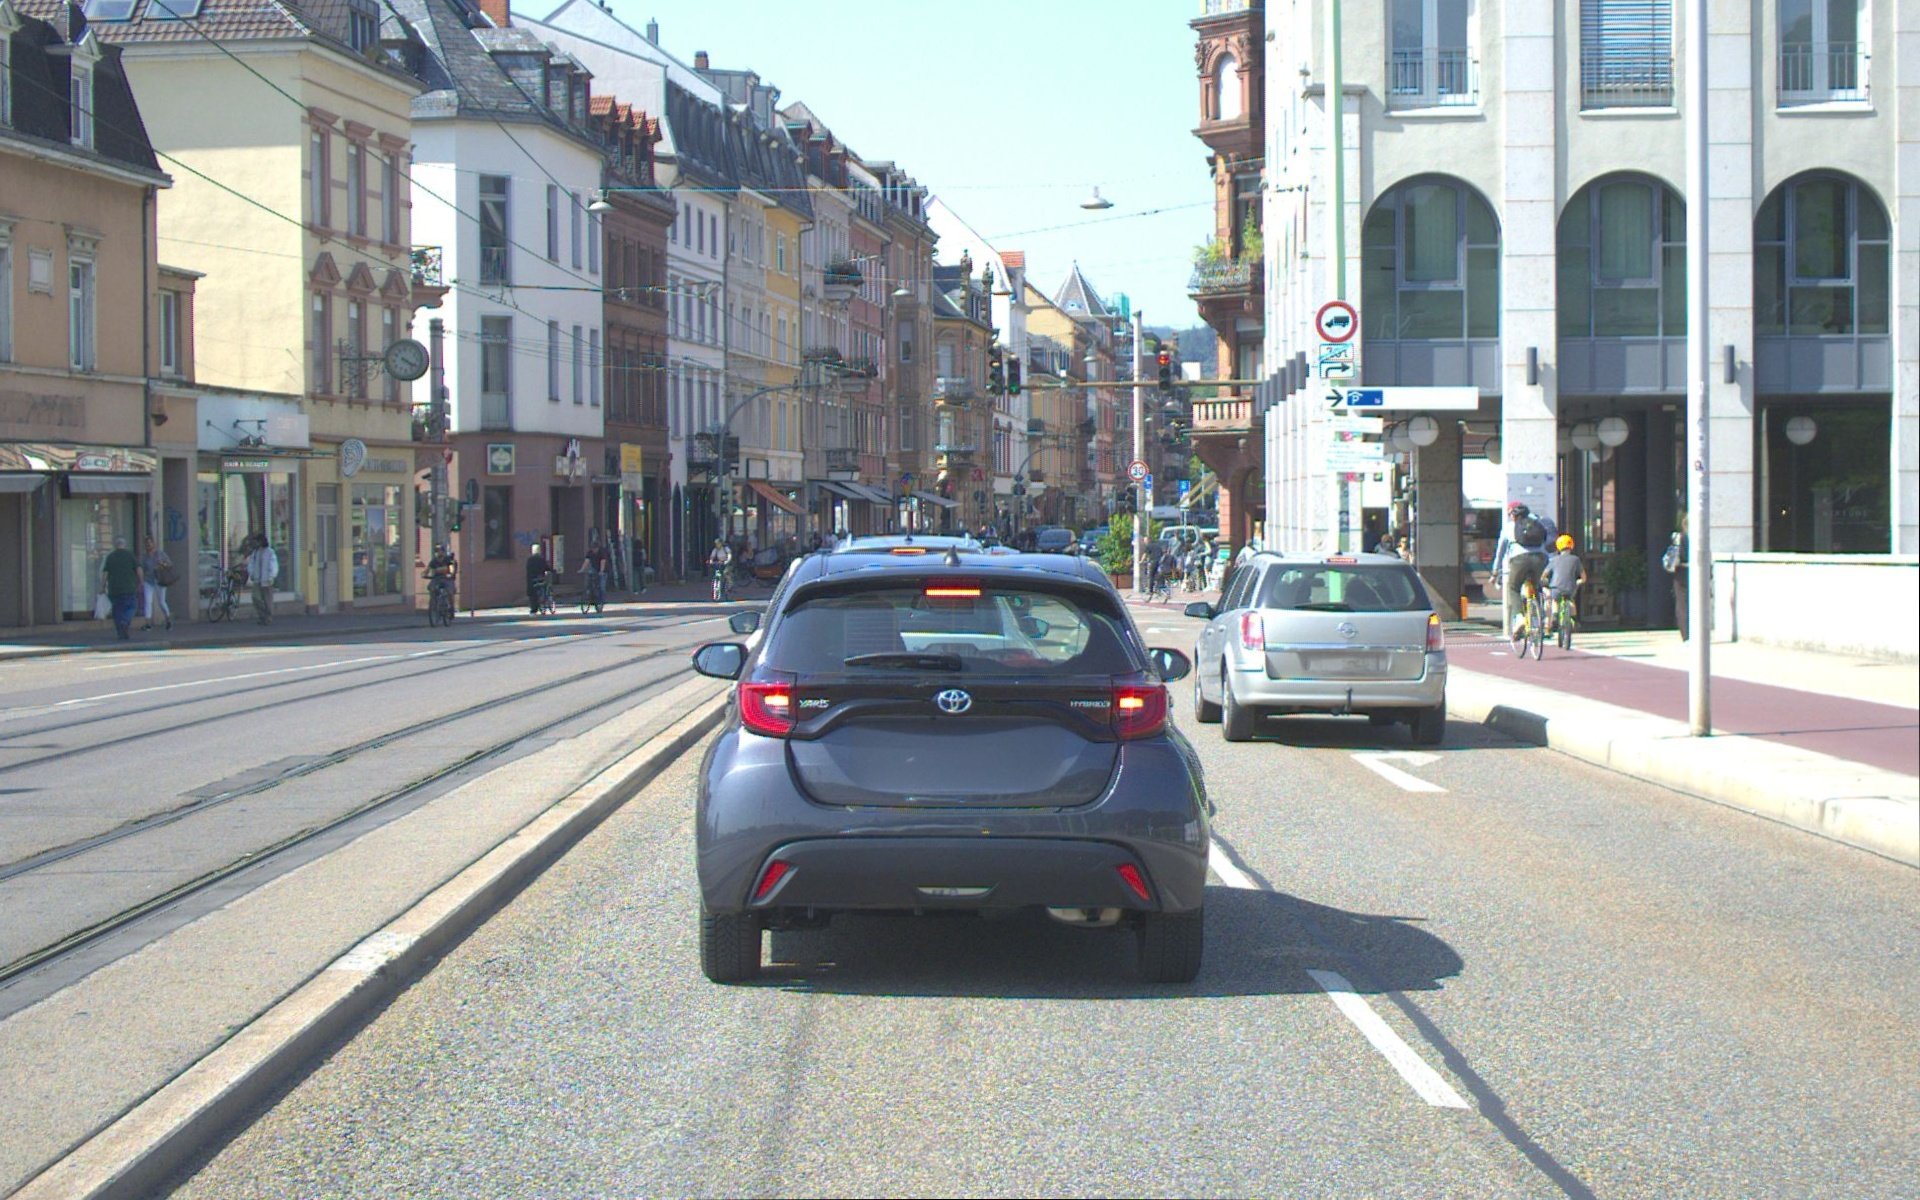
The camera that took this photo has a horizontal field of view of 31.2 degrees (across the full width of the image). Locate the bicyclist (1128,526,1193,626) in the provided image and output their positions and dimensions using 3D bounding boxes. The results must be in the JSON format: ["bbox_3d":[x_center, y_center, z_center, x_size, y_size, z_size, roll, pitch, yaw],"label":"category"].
[{"bbox_3d":[5.243,-0.635,89.805,1.227,2.520,1.105,4,1,-17],"label":"bicyclist"}]

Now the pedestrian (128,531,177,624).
[{"bbox_3d":[-14.430,-0.400,61.433,0.649,1.596,0.566,4,3,0],"label":"pedestrian"}]

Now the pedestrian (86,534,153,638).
[{"bbox_3d":[-13.848,-0.228,56.638,0.762,1.648,0.711,4,1,8],"label":"pedestrian"}]

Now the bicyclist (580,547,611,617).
[{"bbox_3d":[-8.784,-0.442,82.896,0.627,1.644,0.622,1,2,0],"label":"bicyclist"}]

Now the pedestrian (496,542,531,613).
[{"bbox_3d":[-11.122,-0.563,85.651,0.736,1.760,0.787,0,2,0],"label":"pedestrian"}]

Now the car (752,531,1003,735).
[{"bbox_3d":[-0.655,0.217,28.297,1.897,1.525,4.000,1,1,-1],"label":"car"}]

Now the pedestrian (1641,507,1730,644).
[{"bbox_3d":[8.850,-0.302,41.969,0.739,1.609,1.016,4,1,-1],"label":"pedestrian"}]

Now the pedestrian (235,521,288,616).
[{"bbox_3d":[-13.403,-0.604,66.007,0.736,1.760,0.787,4,1,0],"label":"pedestrian"}]

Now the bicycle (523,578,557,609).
[{"bbox_3d":[-10.417,-0.154,85.257,0.620,0.713,1.771,1,2,0],"label":"bicycle"}]

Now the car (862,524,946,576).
[{"bbox_3d":[-1.754,-1.588,109.159,1.994,1.581,4.651,0,1,8],"label":"car"}]

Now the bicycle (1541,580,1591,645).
[{"bbox_3d":[7.440,0.147,42.219,0.416,0.763,0.962,-2,1,0],"label":"bicycle"}]

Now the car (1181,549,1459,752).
[{"bbox_3d":[2.806,0.343,27.625,1.705,1.461,4.326,1,1,-1],"label":"car"}]

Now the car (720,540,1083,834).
[{"bbox_3d":[-0.335,0.428,20.231,1.897,1.525,4.000,1,1,-1],"label":"car"}]

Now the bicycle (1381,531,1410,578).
[{"bbox_3d":[7.314,-0.769,57.732,0.416,0.763,1.205,-2,1,5],"label":"bicycle"}]

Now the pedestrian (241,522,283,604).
[{"bbox_3d":[-14.271,-0.757,70.292,0.649,1.596,0.566,4,3,0],"label":"pedestrian"}]

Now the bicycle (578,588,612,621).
[{"bbox_3d":[-8.805,0.107,82.930,0.620,0.713,1.731,1,2,0],"label":"bicycle"}]

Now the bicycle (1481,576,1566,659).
[{"bbox_3d":[6.333,0.191,38.707,0.704,0.879,1.525,-1,1,0],"label":"bicycle"}]

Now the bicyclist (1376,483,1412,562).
[{"bbox_3d":[7.283,-1.298,57.714,0.538,1.312,0.671,-2,1,5],"label":"bicyclist"}]

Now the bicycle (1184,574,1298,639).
[{"bbox_3d":[6.938,0.149,85.090,1.112,1.415,3.007,3,1,-33],"label":"bicycle"}]

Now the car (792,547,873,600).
[{"bbox_3d":[-3.598,-0.776,97.716,1.731,1.455,4.373,0,1,5],"label":"car"}]

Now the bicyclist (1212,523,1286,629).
[{"bbox_3d":[7.132,-0.597,84.809,1.228,2.520,1.105,3,1,-33],"label":"bicyclist"}]

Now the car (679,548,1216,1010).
[{"bbox_3d":[-0.065,0.556,13.005,1.720,1.468,3.658,1,1,-1],"label":"car"}]

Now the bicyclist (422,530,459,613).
[{"bbox_3d":[-10.583,-0.585,70.076,0.627,1.644,0.622,1,2,0],"label":"bicyclist"}]

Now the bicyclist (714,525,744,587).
[{"bbox_3d":[-6.197,-1.181,92.276,0.627,1.644,0.621,2,2,9],"label":"bicyclist"}]

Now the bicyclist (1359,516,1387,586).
[{"bbox_3d":[7.496,-0.895,62.400,0.422,1.252,0.443,-2,1,3],"label":"bicyclist"}]

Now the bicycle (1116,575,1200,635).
[{"bbox_3d":[5.168,0.125,89.858,1.111,1.415,3.008,3,1,-18],"label":"bicycle"}]

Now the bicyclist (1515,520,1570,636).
[{"bbox_3d":[7.425,-0.283,43.833,0.484,1.461,0.443,-3,1,-39],"label":"bicyclist"}]

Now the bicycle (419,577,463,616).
[{"bbox_3d":[-10.598,-0.077,70.179,0.620,0.713,1.771,1,2,0],"label":"bicycle"}]

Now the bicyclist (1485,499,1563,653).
[{"bbox_3d":[6.329,-0.276,38.602,0.701,1.689,0.924,-1,1,0],"label":"bicyclist"}]

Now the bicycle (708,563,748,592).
[{"bbox_3d":[-6.217,-0.617,92.282,0.620,0.713,2.044,2,2,9],"label":"bicycle"}]

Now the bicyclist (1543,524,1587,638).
[{"bbox_3d":[7.426,-0.233,42.217,0.422,1.378,0.443,-2,1,0],"label":"bicyclist"}]
